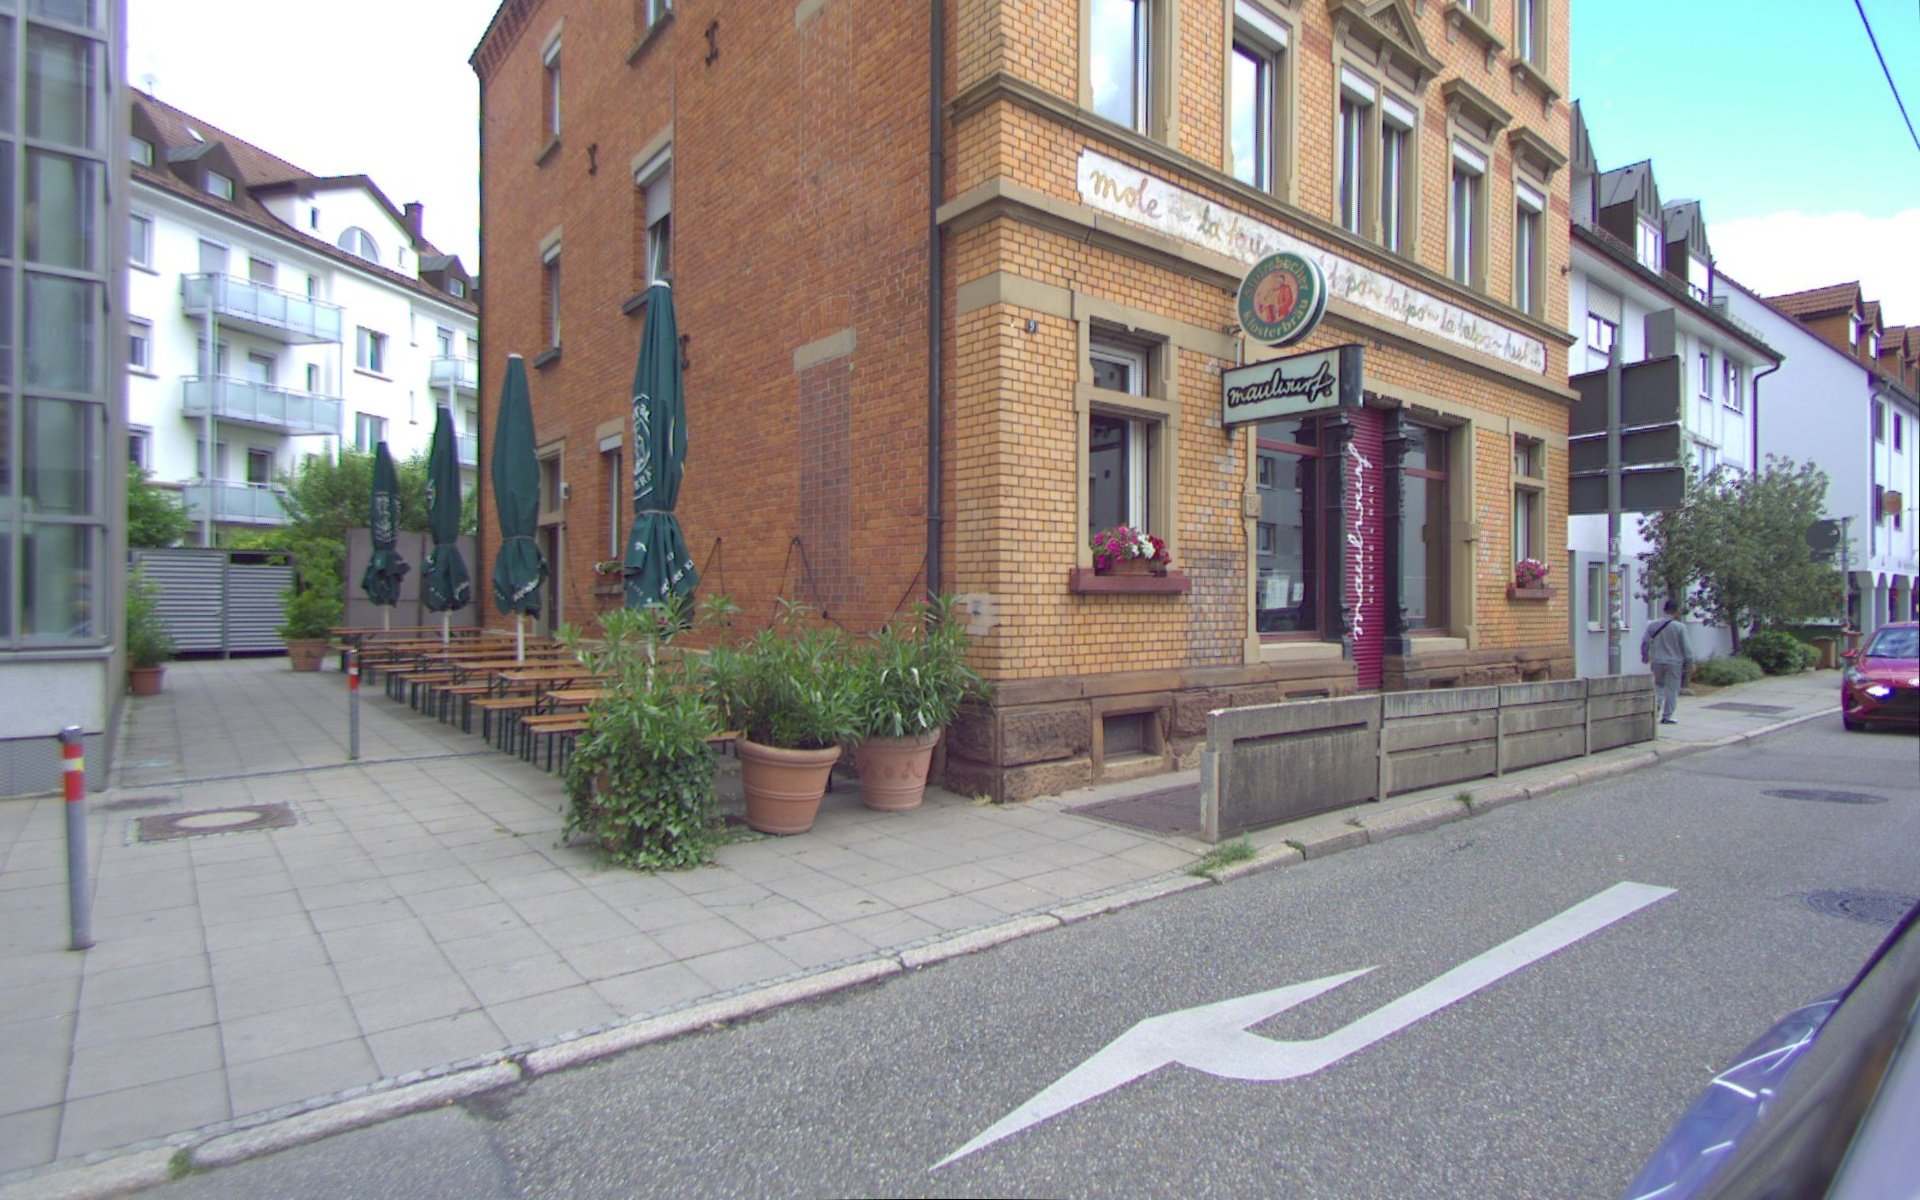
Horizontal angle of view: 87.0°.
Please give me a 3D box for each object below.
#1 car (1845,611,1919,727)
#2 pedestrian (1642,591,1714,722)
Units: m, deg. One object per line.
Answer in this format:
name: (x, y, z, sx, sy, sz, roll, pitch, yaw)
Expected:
car: (13.827, 0.886, 14.098, 3.930, 1.471, 1.700, 1, -3, -41)
pedestrian: (9.929, 0.755, 13.996, 0.638, 1.753, 0.689, 1, 0, -41)
